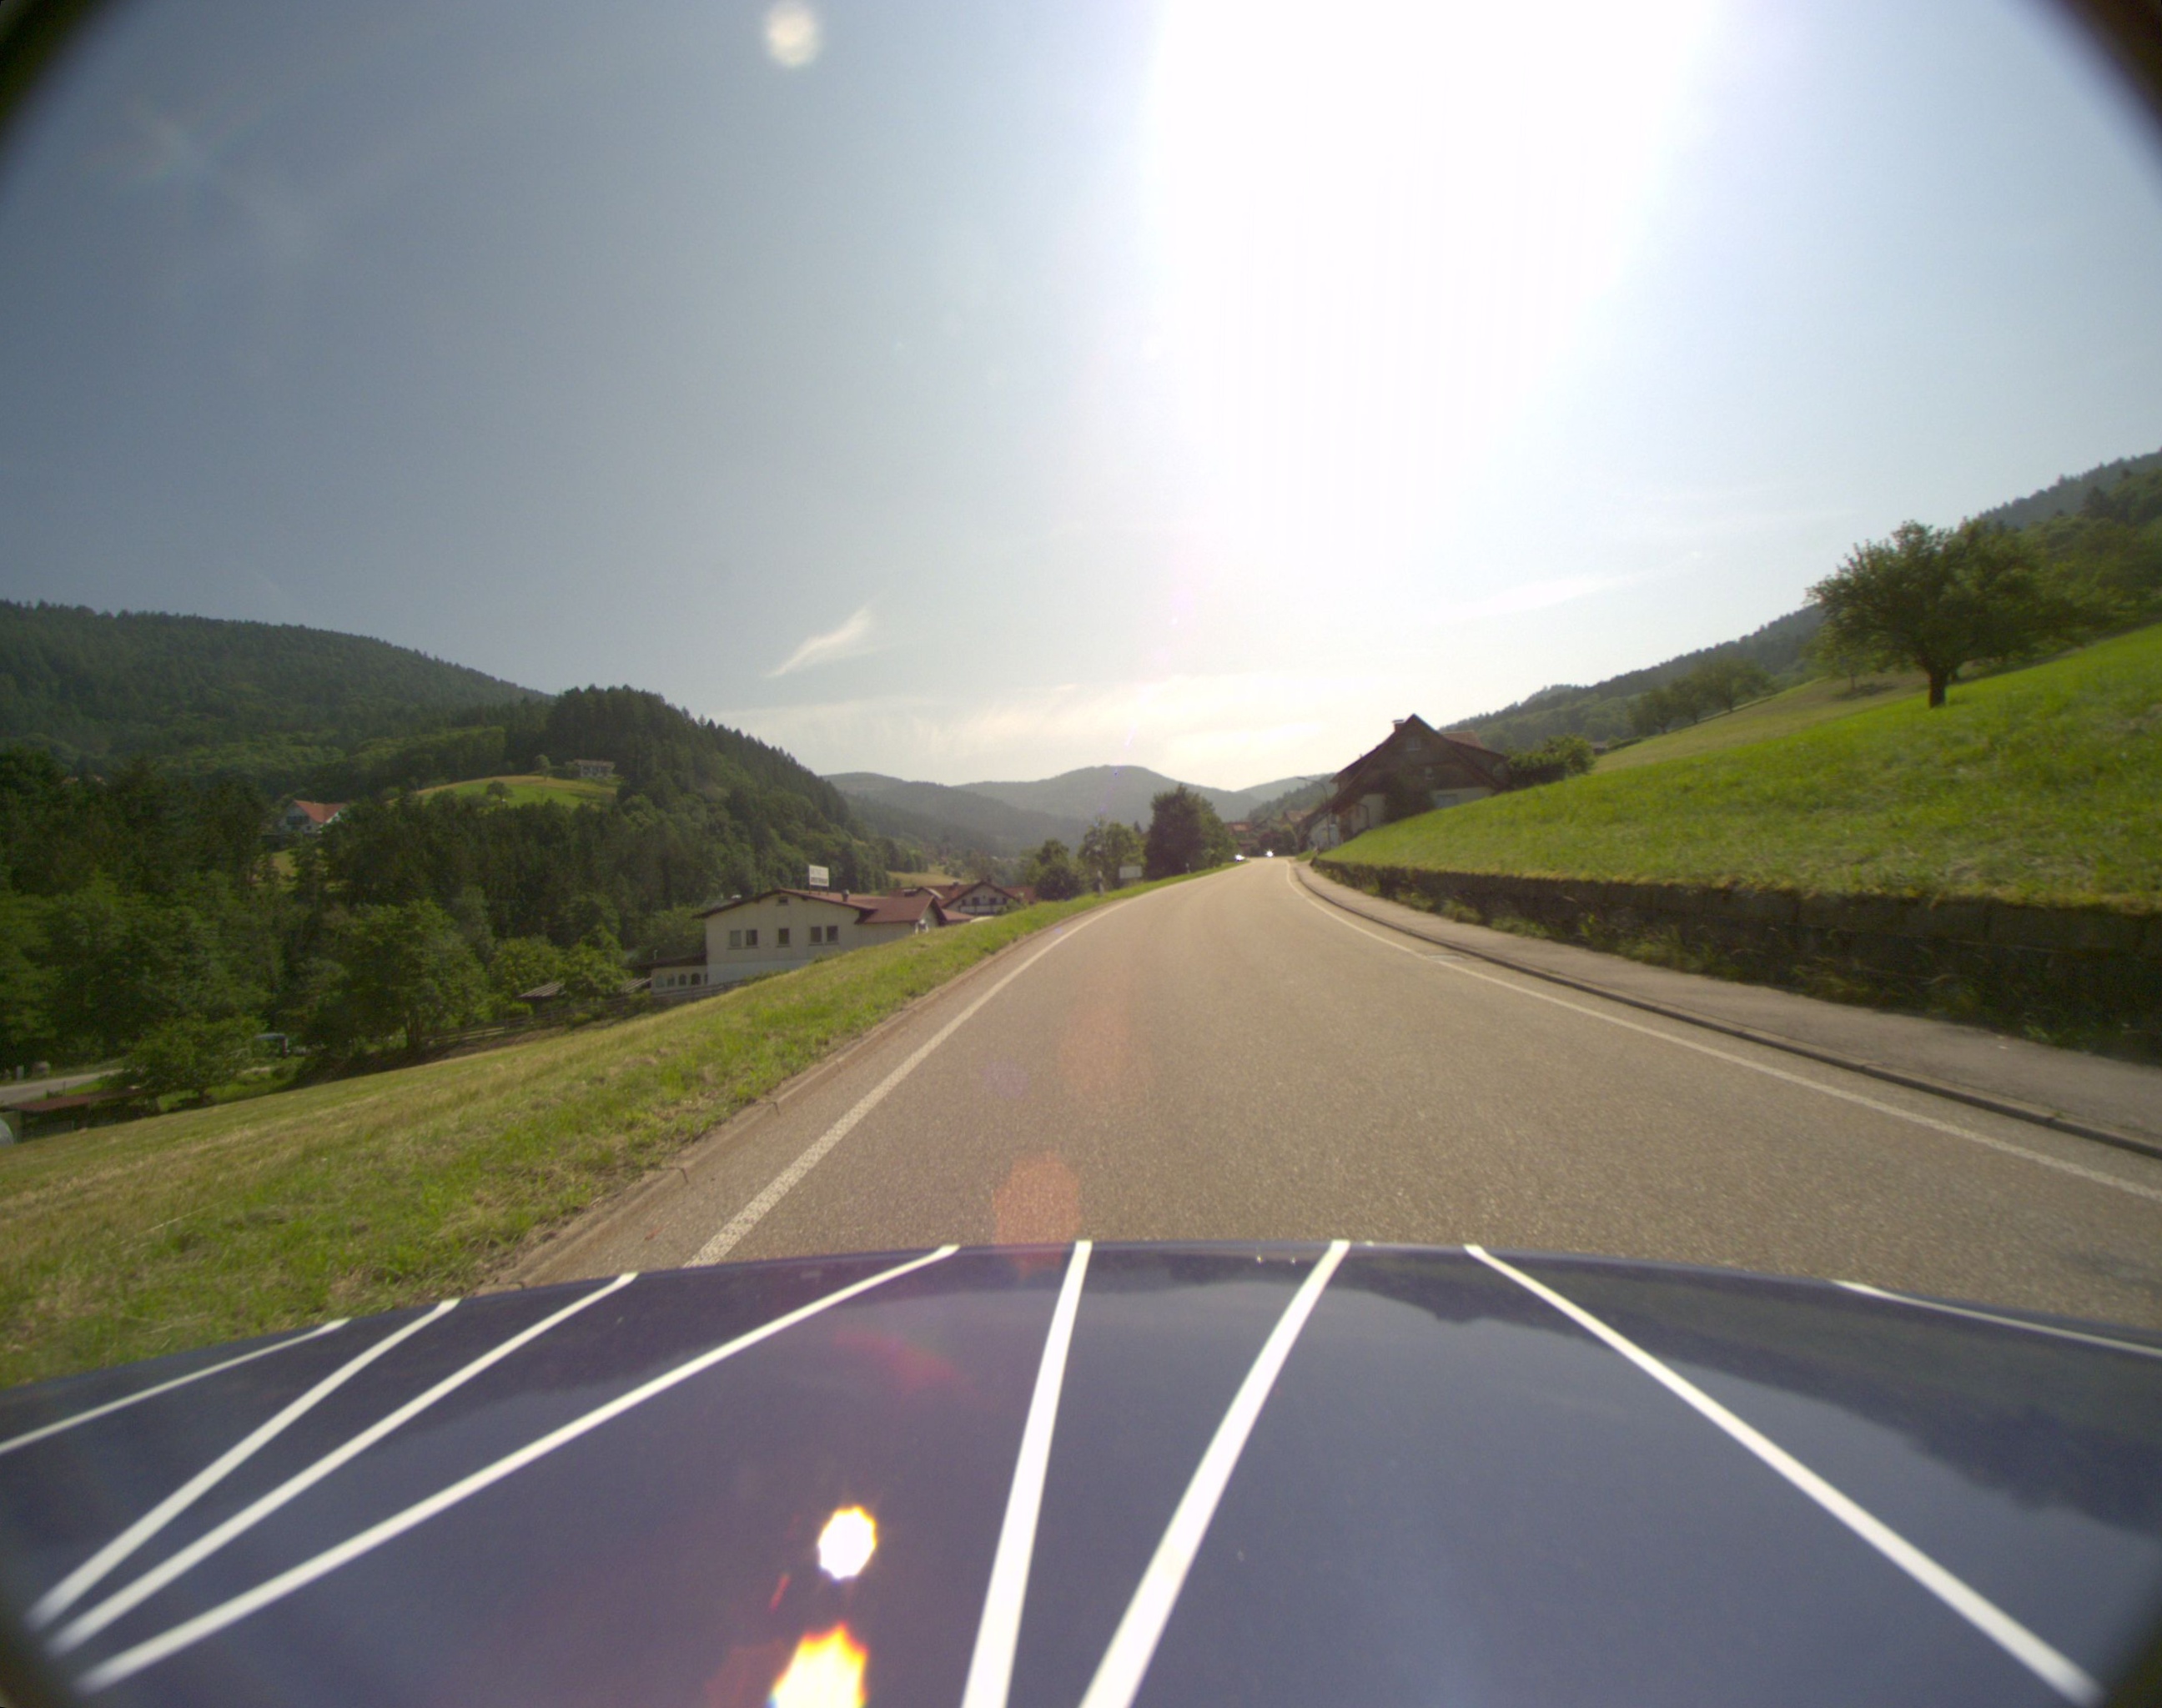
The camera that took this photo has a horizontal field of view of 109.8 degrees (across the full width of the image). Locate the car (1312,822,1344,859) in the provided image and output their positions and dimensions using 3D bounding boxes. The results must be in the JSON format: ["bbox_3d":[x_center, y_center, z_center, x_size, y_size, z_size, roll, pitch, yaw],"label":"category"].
[{"bbox_3d":[22.323,-1.134,68.894,2.071,2.671,7.185,-6,-4,14],"label":"car"}]
